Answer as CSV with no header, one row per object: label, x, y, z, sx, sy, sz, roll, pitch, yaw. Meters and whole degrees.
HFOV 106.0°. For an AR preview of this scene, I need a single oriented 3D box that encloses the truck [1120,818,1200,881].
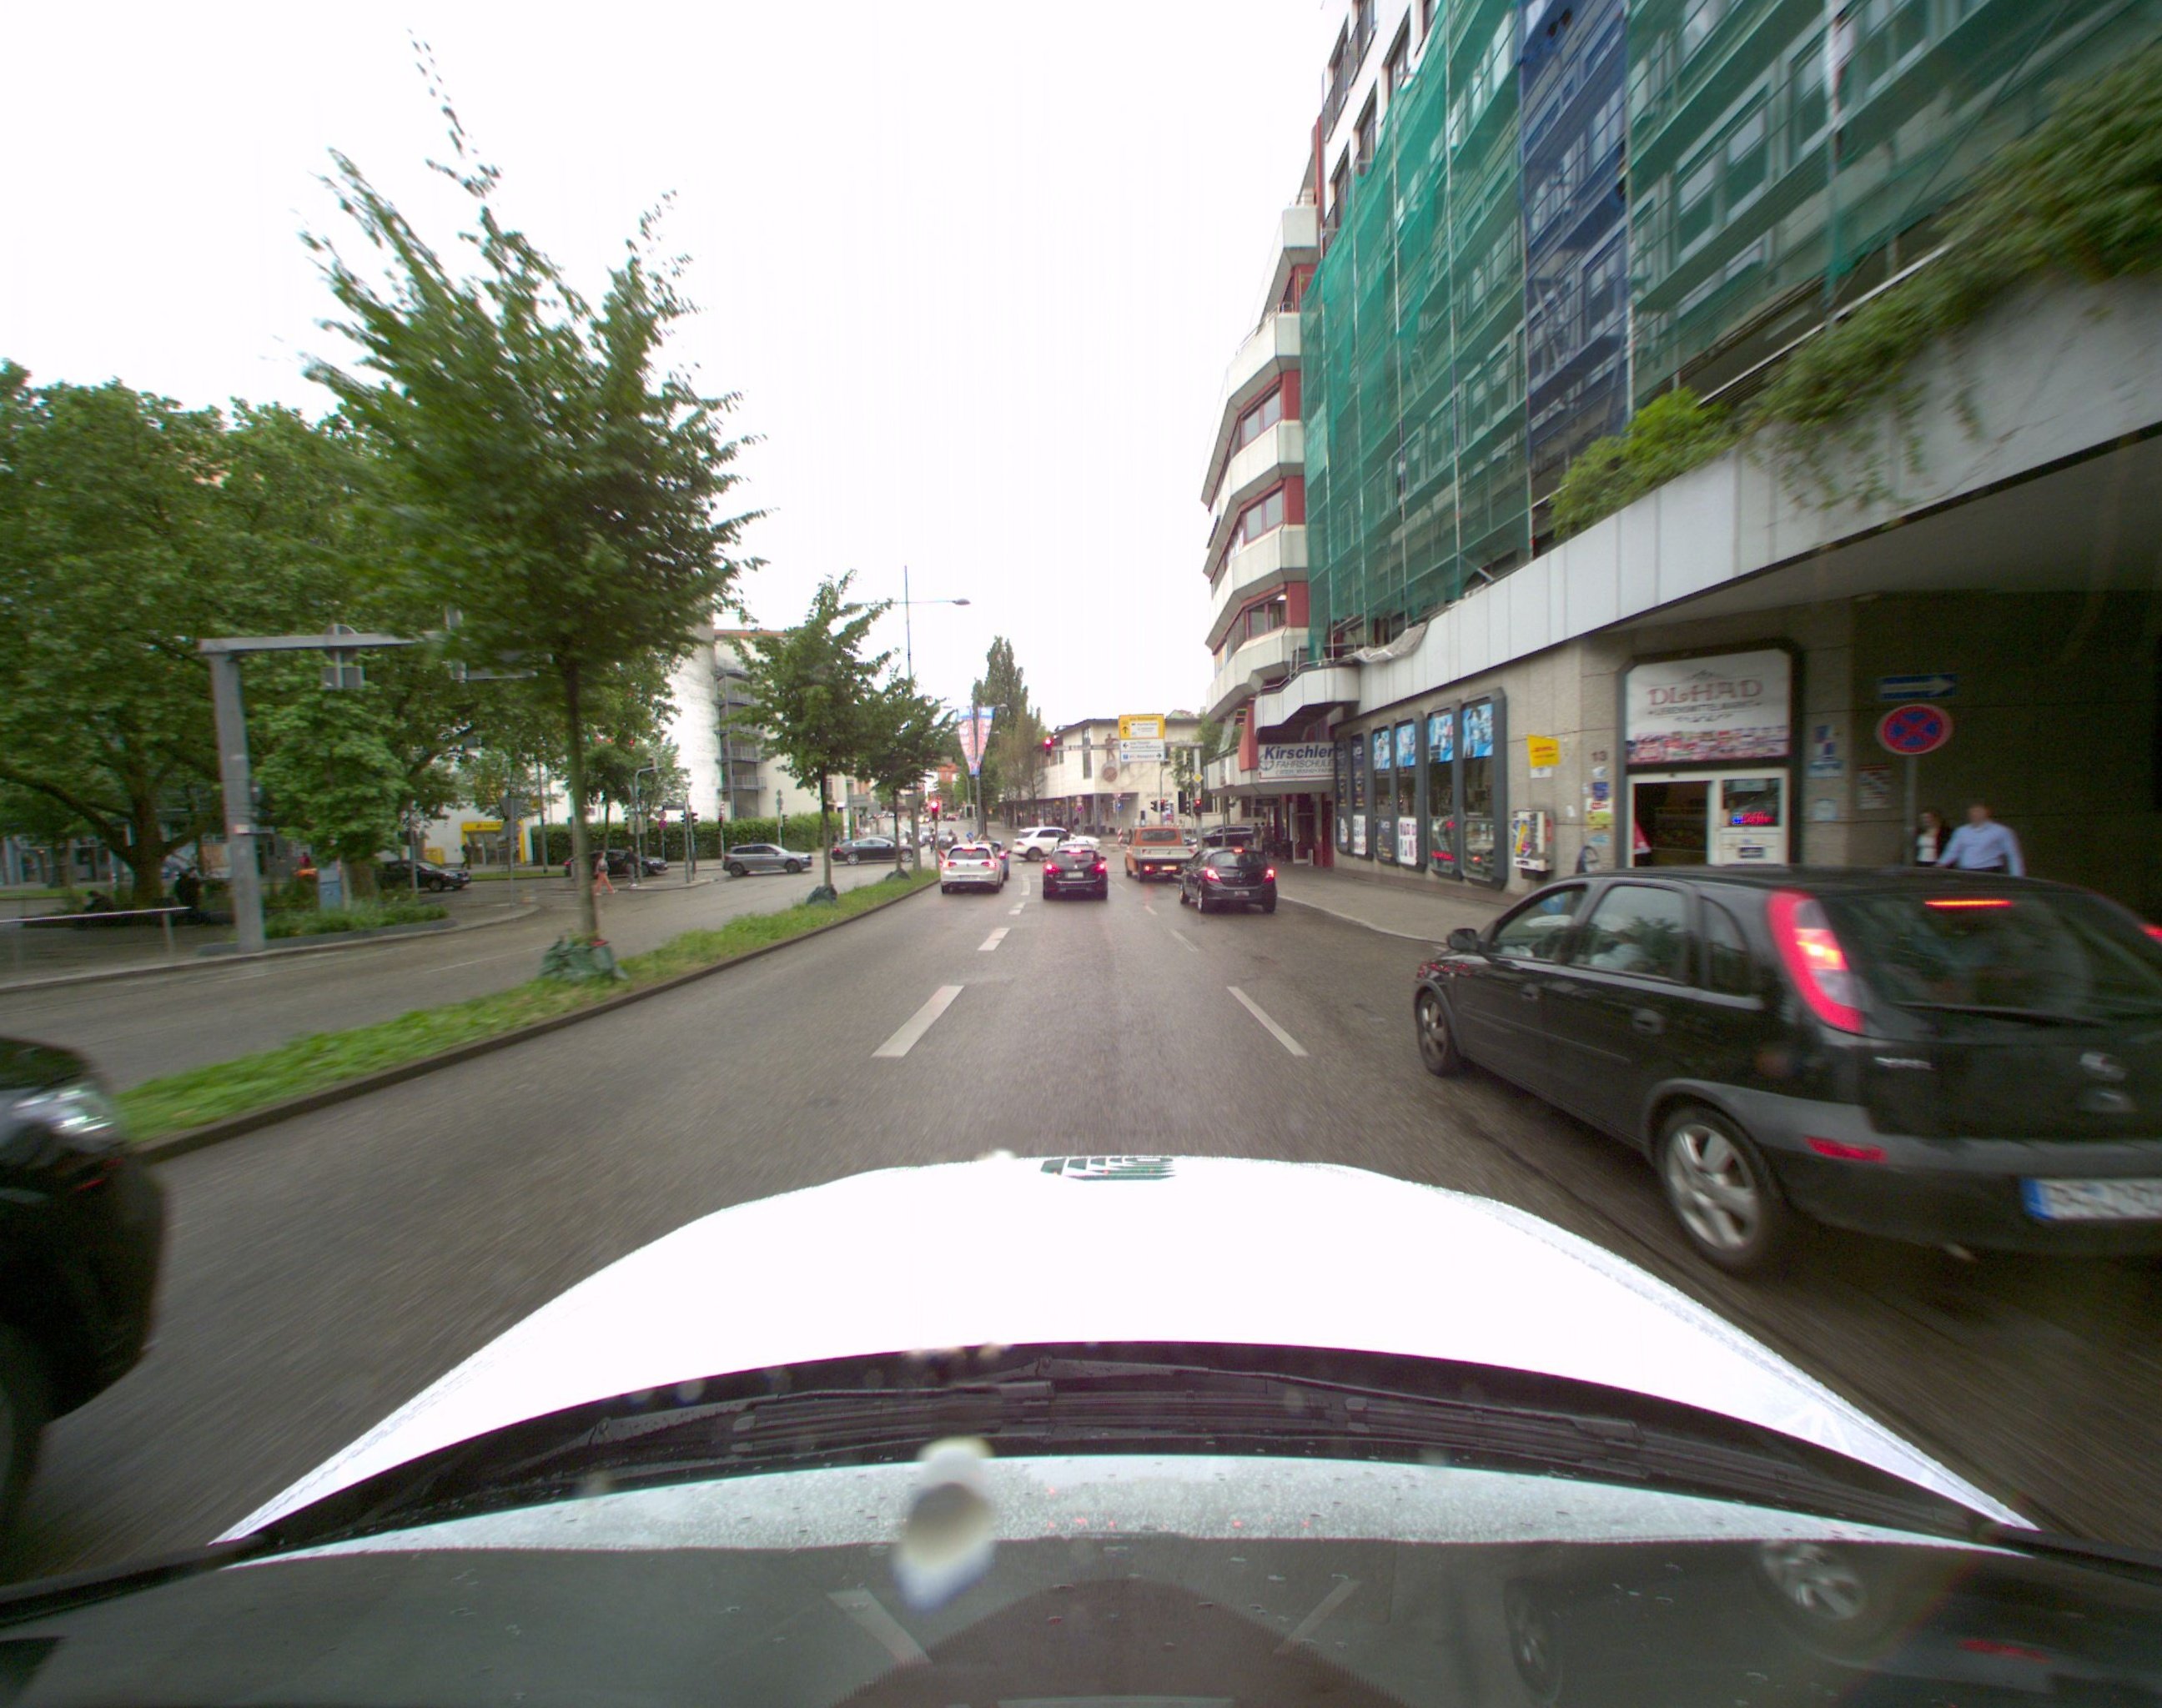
truck,2.822,-0.214,30.444,2.178,2.082,5.598,-2,1,-3

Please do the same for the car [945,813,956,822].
car,-25.837,-7.210,160.978,1.834,1.588,3.856,-2,1,-14

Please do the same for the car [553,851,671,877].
car,-24.405,0.499,42.582,5.000,1.272,1.757,0,0,-12

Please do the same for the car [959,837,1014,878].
car,-3.614,0.077,31.634,1.790,1.468,3.997,-1,1,-3

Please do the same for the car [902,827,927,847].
car,-13.970,-1.427,68.663,1.777,1.549,3.989,-2,1,-8

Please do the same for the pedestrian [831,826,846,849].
pedestrian,-19.532,-1.315,65.589,0.910,1.802,0.620,-3,1,-41

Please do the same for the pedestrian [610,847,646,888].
pedestrian,-19.751,0.581,35.523,0.801,1.708,1.063,-2,1,39

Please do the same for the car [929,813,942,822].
car,-28.495,-7.113,159.318,1.997,1.596,3.979,-2,1,-15

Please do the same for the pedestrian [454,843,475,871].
pedestrian,-40.047,0.163,52.926,0.614,1.778,0.832,-3,1,-1

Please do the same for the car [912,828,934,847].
car,-14.586,-1.508,75.371,1.704,1.720,3.989,-2,1,-8

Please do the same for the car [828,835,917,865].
car,-11.762,-0.250,45.932,4.697,1.643,1.775,0,0,-19

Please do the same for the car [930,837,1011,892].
car,-3.400,0.281,25.843,1.943,1.574,4.001,-1,1,0

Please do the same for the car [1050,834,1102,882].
car,-0.239,0.094,29.734,1.756,1.542,3.997,-1,2,-2

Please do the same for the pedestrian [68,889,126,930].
pedestrian,-32.823,1.834,27.181,0.954,1.272,0.753,-3,1,-26

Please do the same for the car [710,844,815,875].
car,-15.849,0.252,40.755,4.594,1.482,1.934,0,0,-12

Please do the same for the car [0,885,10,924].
car,-51.293,2.404,36.093,4.585,1.759,1.960,-3,1,-5

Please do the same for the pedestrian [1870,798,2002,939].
pedestrian,11.084,0.168,10.596,0.716,1.721,0.769,-1,8,-2

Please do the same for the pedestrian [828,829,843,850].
pedestrian,-19.293,-1.122,64.085,0.931,1.608,0.557,-3,1,-41

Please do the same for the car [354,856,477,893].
car,-31.276,0.939,38.411,3.989,1.512,1.921,-2,1,-11

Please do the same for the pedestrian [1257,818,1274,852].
pedestrian,9.359,-0.941,41.344,0.576,1.699,0.648,-3,1,-14

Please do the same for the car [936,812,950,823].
car,-28.509,-7.471,167.913,2.002,2.013,3.970,-2,1,-22

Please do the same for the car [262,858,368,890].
car,-43.321,1.119,46.137,3.999,1.616,1.768,-2,0,-12

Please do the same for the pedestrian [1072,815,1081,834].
pedestrian,-0.455,-2.941,81.318,0.703,1.802,0.934,-3,1,-14

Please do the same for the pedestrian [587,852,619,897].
pedestrian,-19.317,0.822,32.929,0.698,1.779,0.884,-2,1,45

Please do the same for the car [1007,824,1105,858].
car,-1.377,-0.686,43.952,5.075,1.759,1.992,0,0,-12

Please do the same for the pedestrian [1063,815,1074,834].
pedestrian,-1.258,-2.905,80.916,0.847,1.802,1.051,-3,1,-14

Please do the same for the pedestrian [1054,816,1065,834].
pedestrian,-2.151,-2.875,81.068,0.799,1.802,0.913,-3,1,-14

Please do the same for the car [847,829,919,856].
car,-12.120,-0.686,50.027,3.979,1.527,1.845,-2,1,-4

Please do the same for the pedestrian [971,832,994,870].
pedestrian,-4.542,-0.147,37.627,0.831,1.722,0.820,-3,1,7

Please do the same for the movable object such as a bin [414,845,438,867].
movable object such as a bin,-45.170,0.153,56.162,1.106,1.446,0.602,-3,1,4

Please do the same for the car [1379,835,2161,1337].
car,3.065,0.651,4.246,1.710,1.420,3.772,-2,1,1

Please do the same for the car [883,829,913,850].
car,-13.669,-1.068,61.019,1.705,1.451,3.852,-2,1,-7

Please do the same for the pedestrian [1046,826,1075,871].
pedestrian,-0.895,-0.261,35.429,1.057,1.882,0.840,-3,1,6

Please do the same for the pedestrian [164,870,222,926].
pedestrian,-28.725,1.408,26.363,0.752,1.722,0.955,-3,1,13

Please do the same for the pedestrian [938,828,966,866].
pedestrian,-6.067,-0.320,38.360,1.005,1.722,0.839,-3,1,5

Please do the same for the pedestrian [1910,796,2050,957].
pedestrian,10.618,0.232,9.655,0.614,1.778,0.838,-3,6,-2

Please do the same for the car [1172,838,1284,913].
car,3.365,0.422,19.438,1.943,1.574,4.000,-1,1,0

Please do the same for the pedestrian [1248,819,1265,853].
pedestrian,8.767,-0.899,40.761,0.575,1.699,0.648,-3,1,-10

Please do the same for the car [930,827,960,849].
car,-10.292,-1.221,62.006,1.817,1.549,3.994,-2,1,-4

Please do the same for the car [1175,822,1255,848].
car,8.194,-1.162,50.024,4.405,1.436,1.990,-2,1,-15

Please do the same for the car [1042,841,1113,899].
car,-0.186,0.384,23.347,1.808,1.440,3.996,0,2,-4
